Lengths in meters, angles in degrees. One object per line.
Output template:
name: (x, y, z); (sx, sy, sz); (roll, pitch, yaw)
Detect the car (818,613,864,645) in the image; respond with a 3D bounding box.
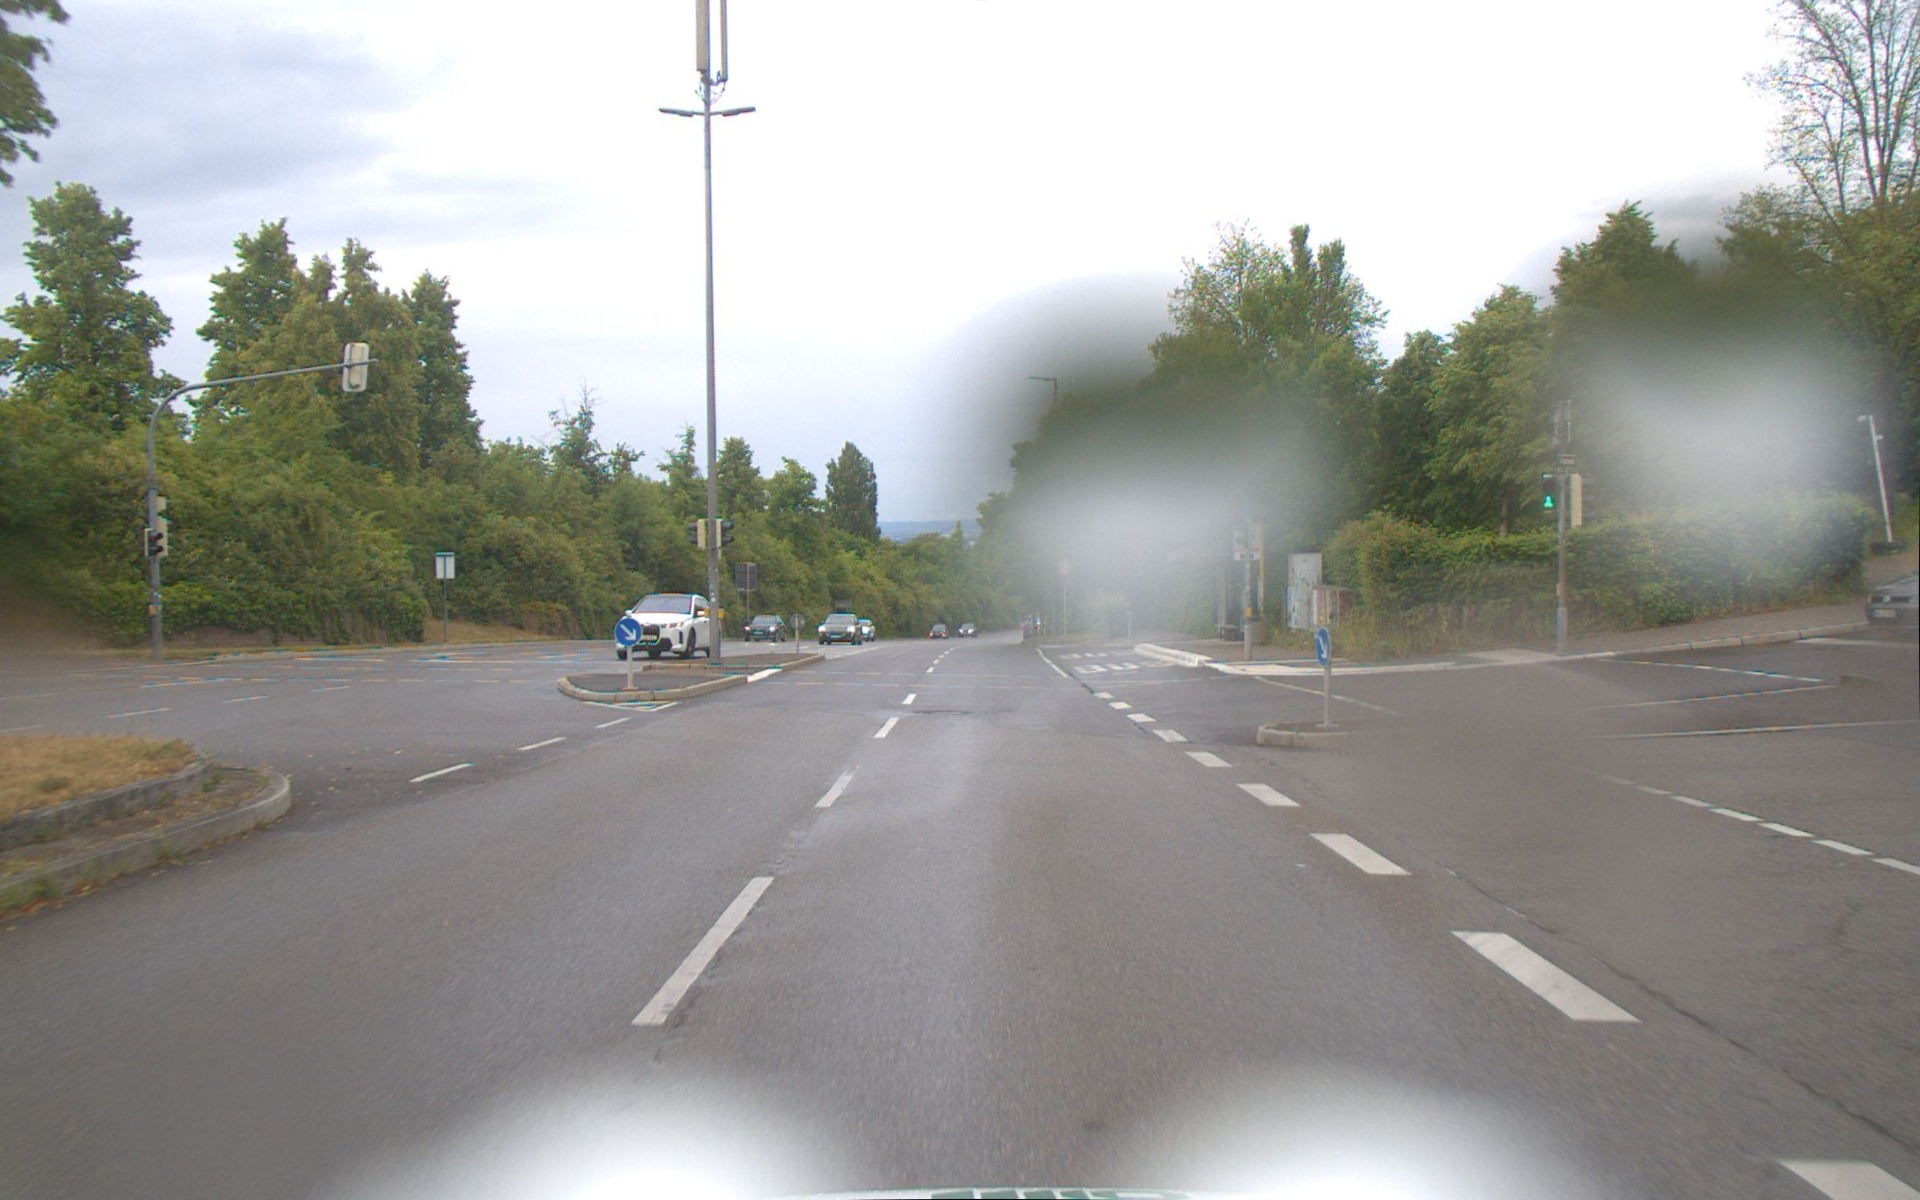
car: (-5.700, 1.362, 79.780); (1.741, 1.498, 4.646); (0, -1, 2)

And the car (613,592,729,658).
car: (-7.696, 0.644, 44.551); (1.904, 1.664, 5.008); (0, 0, 4)

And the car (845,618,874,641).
car: (-7.468, 2.208, 123.122); (1.688, 1.619, 4.002); (0, 0, 3)

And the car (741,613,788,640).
car: (-10.686, 1.444, 90.736); (1.781, 1.463, 4.456); (0, 0, 3)

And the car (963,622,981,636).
car: (1.388, 3.457, 196.266); (1.825, 1.617, 3.894); (2, -1, 4)

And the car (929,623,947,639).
car: (-2.284, 3.290, 173.705); (1.689, 1.593, 3.893); (2, -1, 2)

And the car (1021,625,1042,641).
car: (7.754, 3.516, 179.078); (1.903, 1.619, 3.931); (0, 0, 7)

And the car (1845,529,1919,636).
car: (15.837, -0.465, 24.893); (4.000, 1.478, 1.887); (-7, 1, -8)
